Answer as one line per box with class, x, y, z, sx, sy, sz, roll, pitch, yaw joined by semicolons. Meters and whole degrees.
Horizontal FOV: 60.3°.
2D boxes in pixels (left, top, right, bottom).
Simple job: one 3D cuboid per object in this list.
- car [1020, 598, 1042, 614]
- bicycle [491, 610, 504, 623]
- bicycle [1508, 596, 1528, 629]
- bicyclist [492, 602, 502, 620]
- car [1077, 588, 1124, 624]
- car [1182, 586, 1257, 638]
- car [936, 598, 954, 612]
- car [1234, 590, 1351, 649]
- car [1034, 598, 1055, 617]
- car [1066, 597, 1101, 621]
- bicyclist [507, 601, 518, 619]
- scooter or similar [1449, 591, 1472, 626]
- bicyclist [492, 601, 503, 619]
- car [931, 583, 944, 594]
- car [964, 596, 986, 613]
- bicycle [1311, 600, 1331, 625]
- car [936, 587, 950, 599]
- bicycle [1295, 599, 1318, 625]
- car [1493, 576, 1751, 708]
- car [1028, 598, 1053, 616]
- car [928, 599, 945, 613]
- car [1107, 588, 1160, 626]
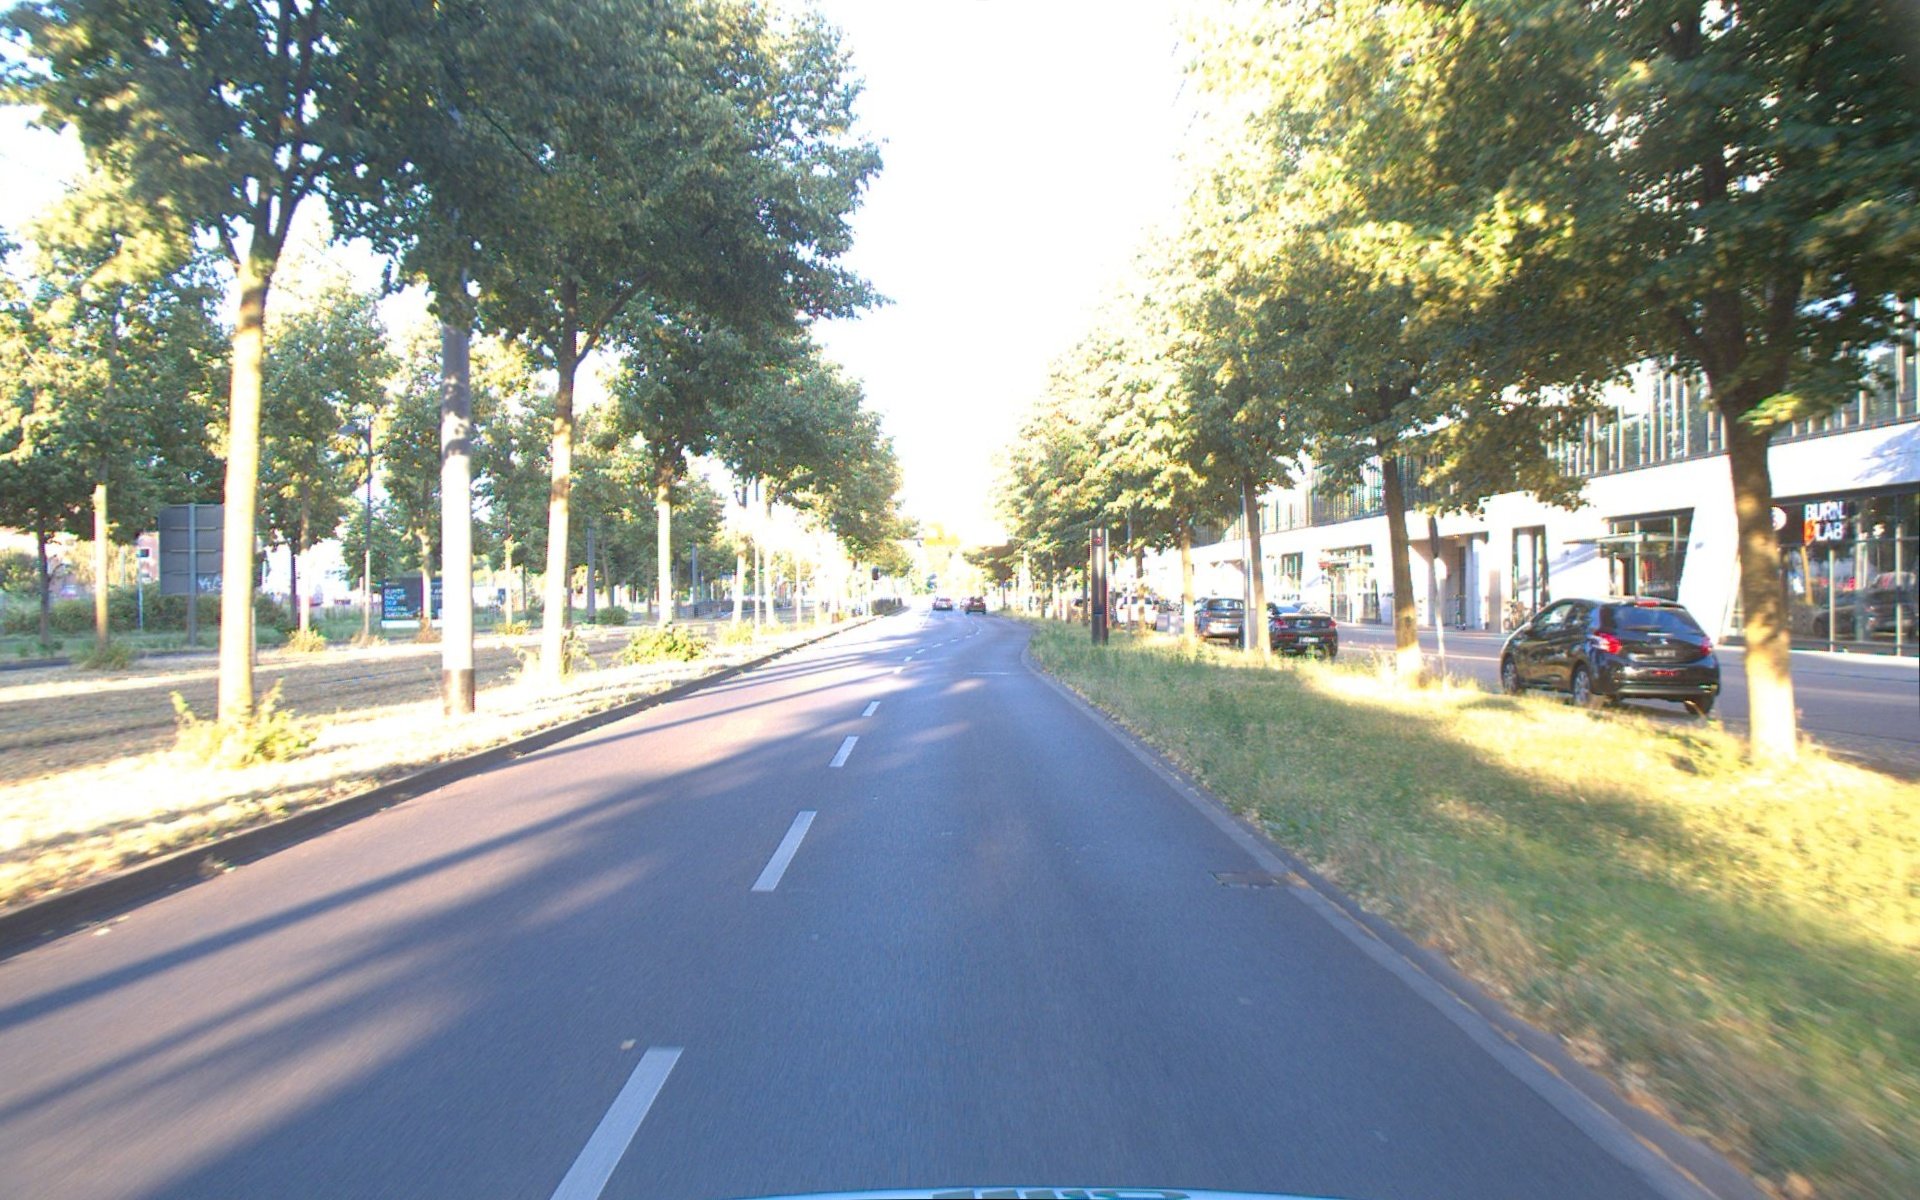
car;6.764;0.577;157.811;1.722;1.491;4.156;0;0;-3
bicycle;-37.732;1.308;134.933;0.607;1.029;2.082;-1;0;-3
bicycle;17.977;0.411;53.310;0.444;1.045;1.392;-1;0;25
bicyclist;-37.744;0.884;134.898;0.607;1.482;0.937;-1;0;-3
car;7.620;0.300;89.874;1.954;1.884;4.663;-1;0;-3
car;8.220;0.375;52.651;1.675;1.542;3.758;2;0;-2
car;-1.614;0.512;176.332;1.873;1.512;3.999;0;0;-1
car;8.428;0.450;42.356;1.815;1.391;4.832;-1;0;-3
car;6.895;0.597;135.686;1.543;1.498;3.881;0;0;0
car;7.623;0.521;102.633;1.830;1.436;4.646;-1;0;0
bicyclist;-36.634;0.801;135.390;0.607;1.482;0.937;-1;0;-3
scooter or similar;17.930;0.307;59.295;0.462;1.232;1.229;-1;0;0
bicyclist;-36.976;0.783;132.305;0.607;1.446;0.937;-1;0;-3
car;-3.275;-1.657;237.896;1.873;1.512;3.999;0;0;-1
car;1.328;0.395;147.630;1.873;1.512;3.999;0;0;-1
bicycle;15.390;0.523;70.506;0.461;1.057;1.807;-1;0;0
car;-2.286;-0.953;223.100;1.873;1.512;3.999;0;0;-1
bicycle;14.833;0.512;70.770;0.582;1.057;1.892;-1;0;0
car;8.648;0.497;22.001;1.744;1.520;3.999;2;0;-1
car;6.891;0.630;142.393;1.742;1.498;4.286;0;0;-3
car;-2.651;0.634;185.846;1.873;1.512;3.999;0;0;-1
car;8.084;0.314;77.393;1.953;1.671;4.878;-1;0;0
